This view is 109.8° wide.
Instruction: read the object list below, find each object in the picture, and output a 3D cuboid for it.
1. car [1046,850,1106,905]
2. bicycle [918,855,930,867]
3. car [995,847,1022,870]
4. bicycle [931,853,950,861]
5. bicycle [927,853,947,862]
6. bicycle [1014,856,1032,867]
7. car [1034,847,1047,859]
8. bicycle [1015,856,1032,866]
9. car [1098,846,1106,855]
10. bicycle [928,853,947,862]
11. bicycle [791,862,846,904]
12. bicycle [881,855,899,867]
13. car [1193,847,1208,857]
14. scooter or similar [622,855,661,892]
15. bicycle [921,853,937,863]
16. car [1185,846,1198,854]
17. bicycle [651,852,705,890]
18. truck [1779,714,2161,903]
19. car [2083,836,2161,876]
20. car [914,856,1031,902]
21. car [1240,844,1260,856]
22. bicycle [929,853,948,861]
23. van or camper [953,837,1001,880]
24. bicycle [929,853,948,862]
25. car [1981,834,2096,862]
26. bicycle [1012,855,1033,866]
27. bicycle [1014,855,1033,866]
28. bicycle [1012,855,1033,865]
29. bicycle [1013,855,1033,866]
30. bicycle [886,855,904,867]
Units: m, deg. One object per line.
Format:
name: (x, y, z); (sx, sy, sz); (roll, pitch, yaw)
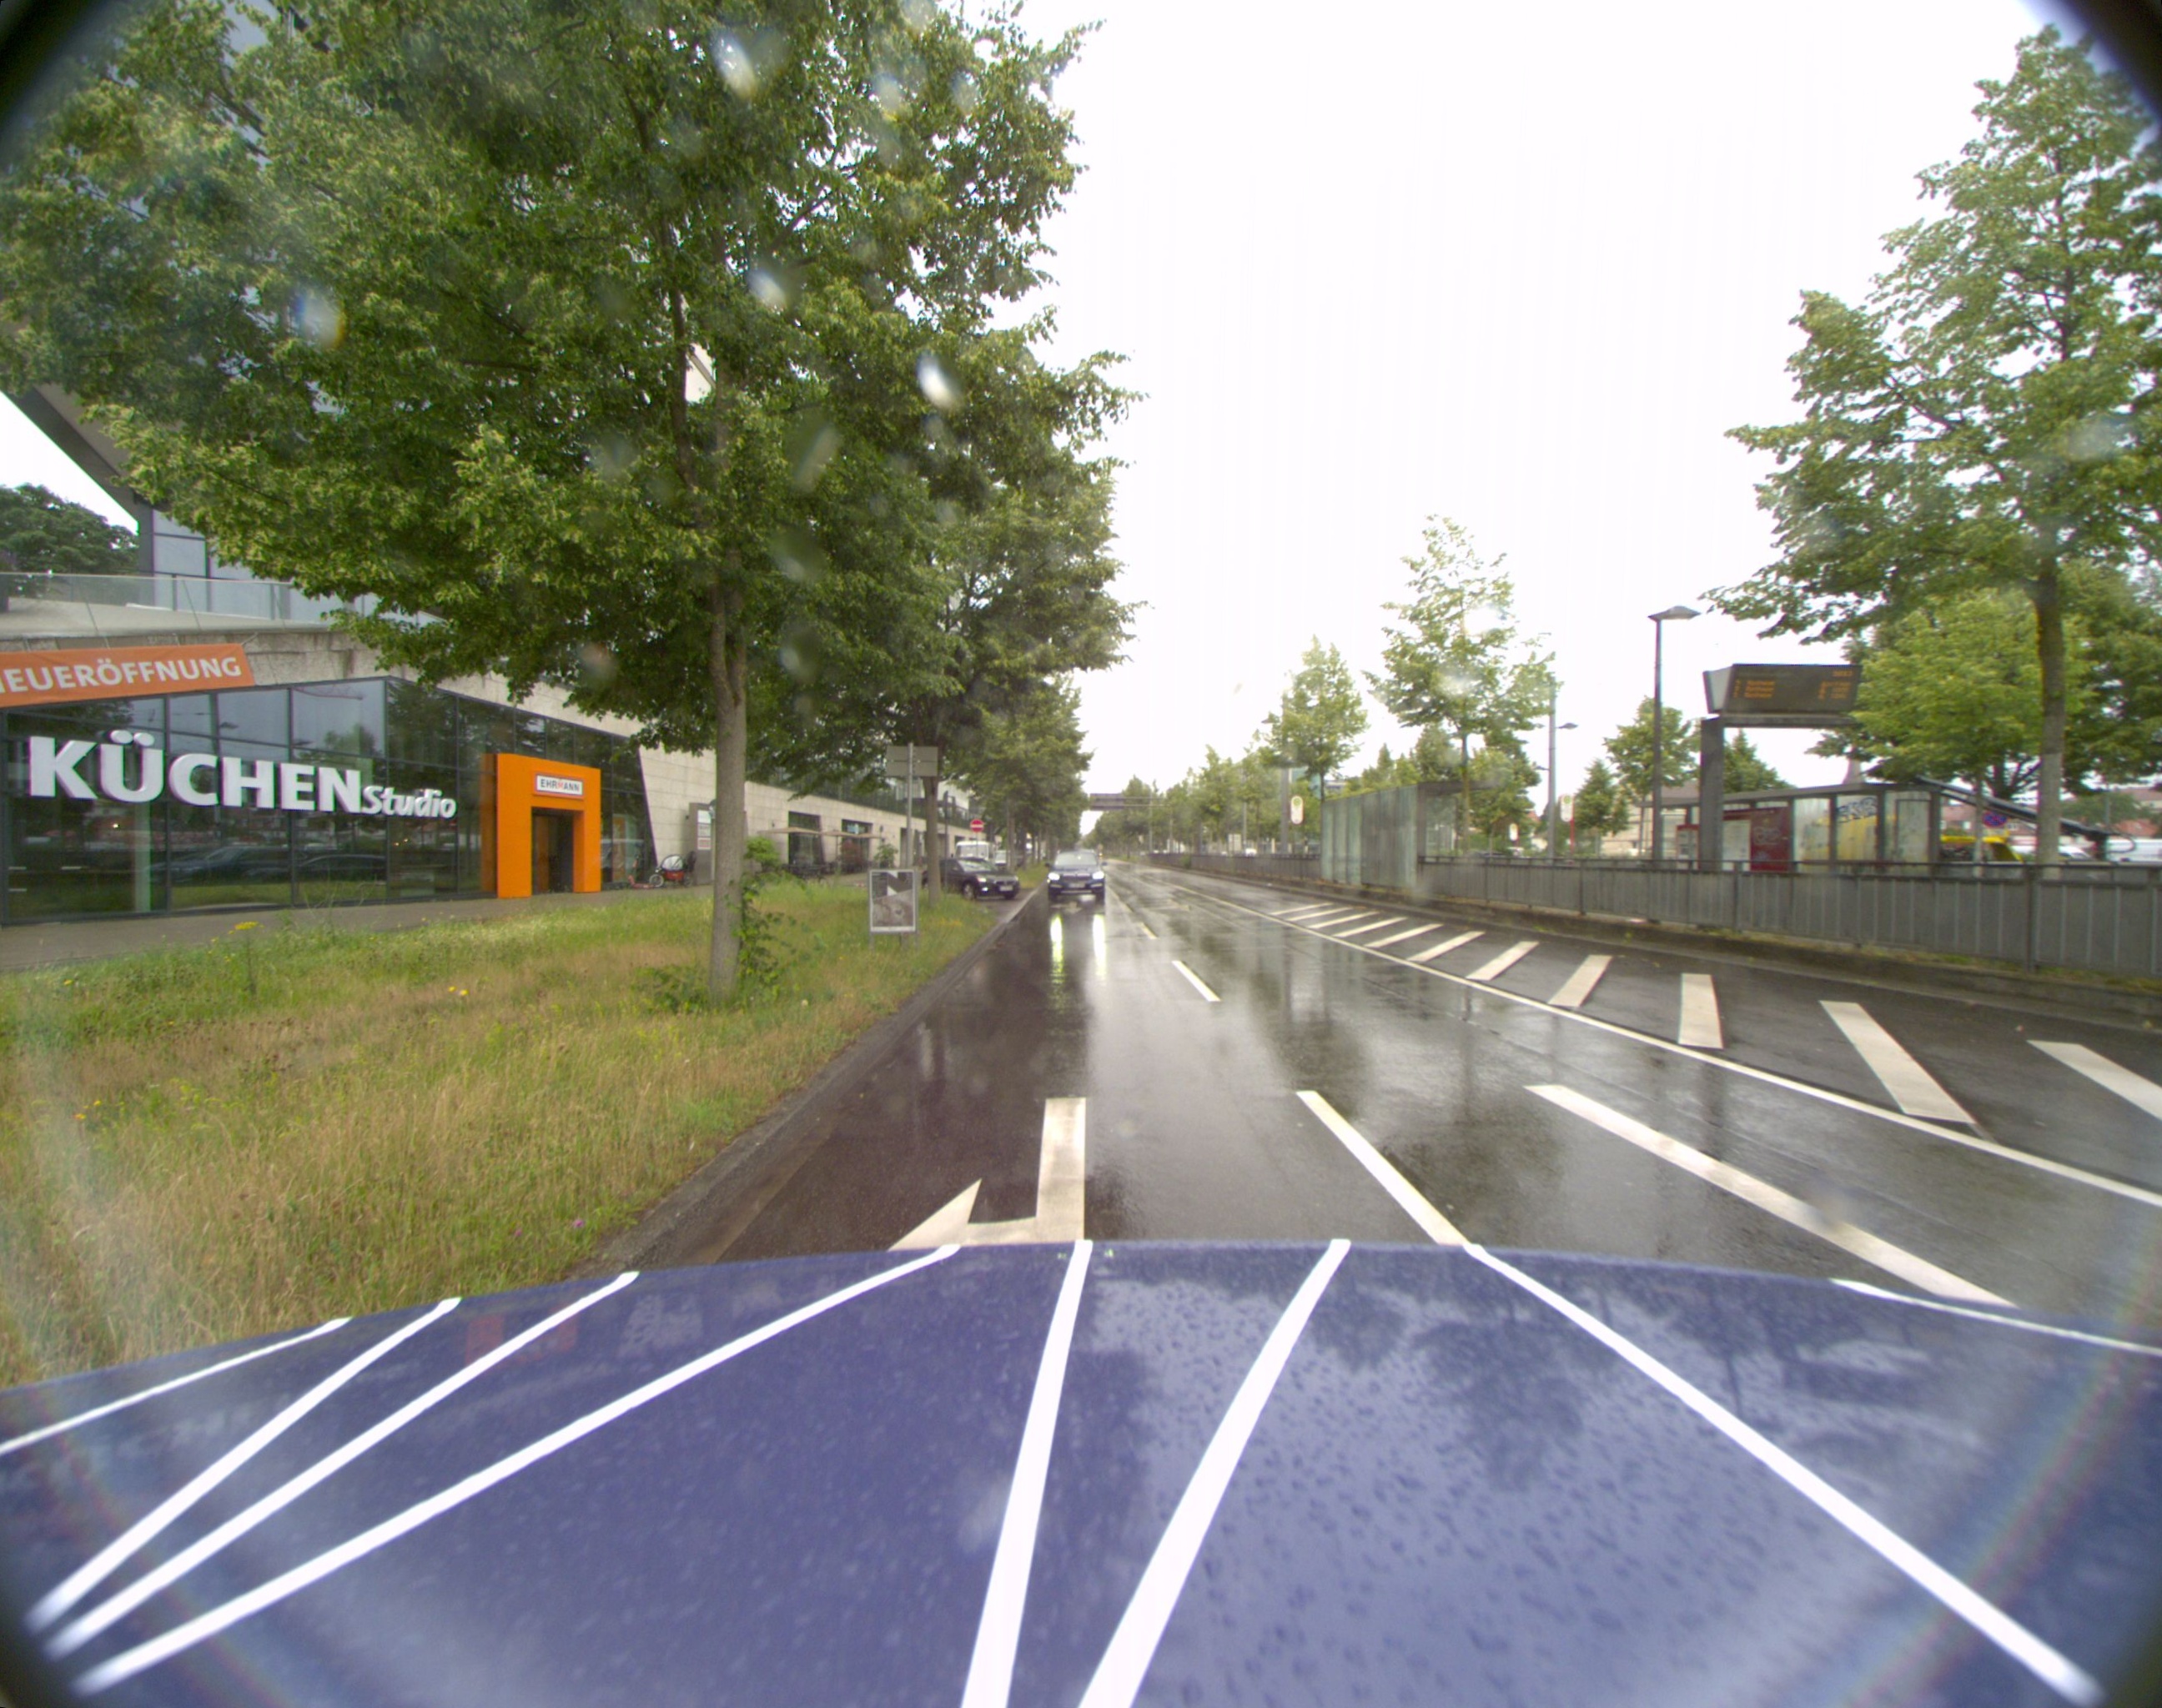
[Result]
car: (-0.122, 0.726, 25.790); (1.816, 1.603, 3.999); (-2, 1, 1)
bicycle: (-13.128, 0.595, 63.684); (0.402, 0.940, 1.859); (-1, 1, 8)
car: (-5.815, 0.339, 61.703); (1.746, 1.749, 4.847); (-1, 1, 0)
bicycle: (-15.933, 0.344, 86.261); (2.029, 0.940, 0.395); (1, 1, -4)
bicycle: (-15.764, 0.378, 83.143); (2.029, 0.940, 0.395); (1, 1, -4)
bicycle: (-5.552, 0.709, 72.626); (1.699, 0.940, 0.395); (-2, 2, -4)
car: (-5.933, -0.141, 111.046); (1.659, 1.711, 3.999); (-2, 1, 0)
bicycle: (-5.522, 0.676, 73.246); (1.649, 0.940, 0.395); (-2, 2, -4)
car: (5.627, -0.868, 200.200); (1.998, 2.232, 3.999); (-2, 1, 1)
bicycle: (-15.800, 0.373, 83.843); (2.029, 0.940, 0.395); (1, 1, -4)
bicycle: (-8.588, 0.935, 24.871); (1.843, 1.338, 0.533); (-1, 0, 26)
bicycle: (-15.355, 0.570, 60.960); (0.396, 0.940, 2.024); (-4, 2, -45)
car: (22.516, -0.413, 143.606); (1.999, 1.736, 3.998); (-2, 1, -2)
scooter or similar: (-15.705, 0.683, 27.181); (0.342, 1.221, 1.242); (-2, 1, 19)
bicycle: (-15.951, 0.420, 79.689); (1.657, 0.940, 0.347); (1, 1, 19)
car: (23.622, -0.858, 162.449); (1.999, 1.736, 3.998); (-2, 1, -2)
bicycle: (-15.406, 0.622, 29.135); (0.734, 1.394, 2.425); (1, 0, 1)
truck: (22.806, -1.009, 18.695); (2.694, 3.756, 9.180); (-2, 1, -1)
car: (70.024, 0.118, 48.855); (1.999, 2.448, 6.744); (-2, 1, -4)
car: (-3.815, 0.791, 26.260); (1.836, 1.412, 4.333); (-2, 1, -43)
car: (25.322, -0.572, 113.905); (1.999, 1.736, 3.998); (-2, 1, -2)
bicycle: (-15.936, 0.349, 85.008); (2.029, 0.940, 0.395); (1, 1, -4)
van or camper: (-5.857, 0.214, 43.532); (2.030, 2.279, 5.459); (-1, 1, 0)
bicycle: (-15.824, 0.368, 84.436); (2.029, 0.940, 0.395); (1, 1, -4)
car: (84.305, -0.557, 67.083); (2.000, 2.293, 6.138); (-3, 1, -9)
bicycle: (-5.785, 0.630, 75.565); (2.007, 0.940, 0.395); (-2, 2, -4)
bicycle: (-5.674, 0.636, 75.078); (1.882, 0.940, 0.395); (-2, 2, -4)
bicycle: (-5.824, 0.626, 76.001); (2.040, 0.940, 0.395); (-2, 2, -4)
bicycle: (-5.688, 0.648, 74.515); (1.862, 0.940, 0.395); (-2, 2, -4)
bicycle: (-15.076, 0.549, 61.546); (0.396, 0.940, 2.024); (-4, 2, -45)
